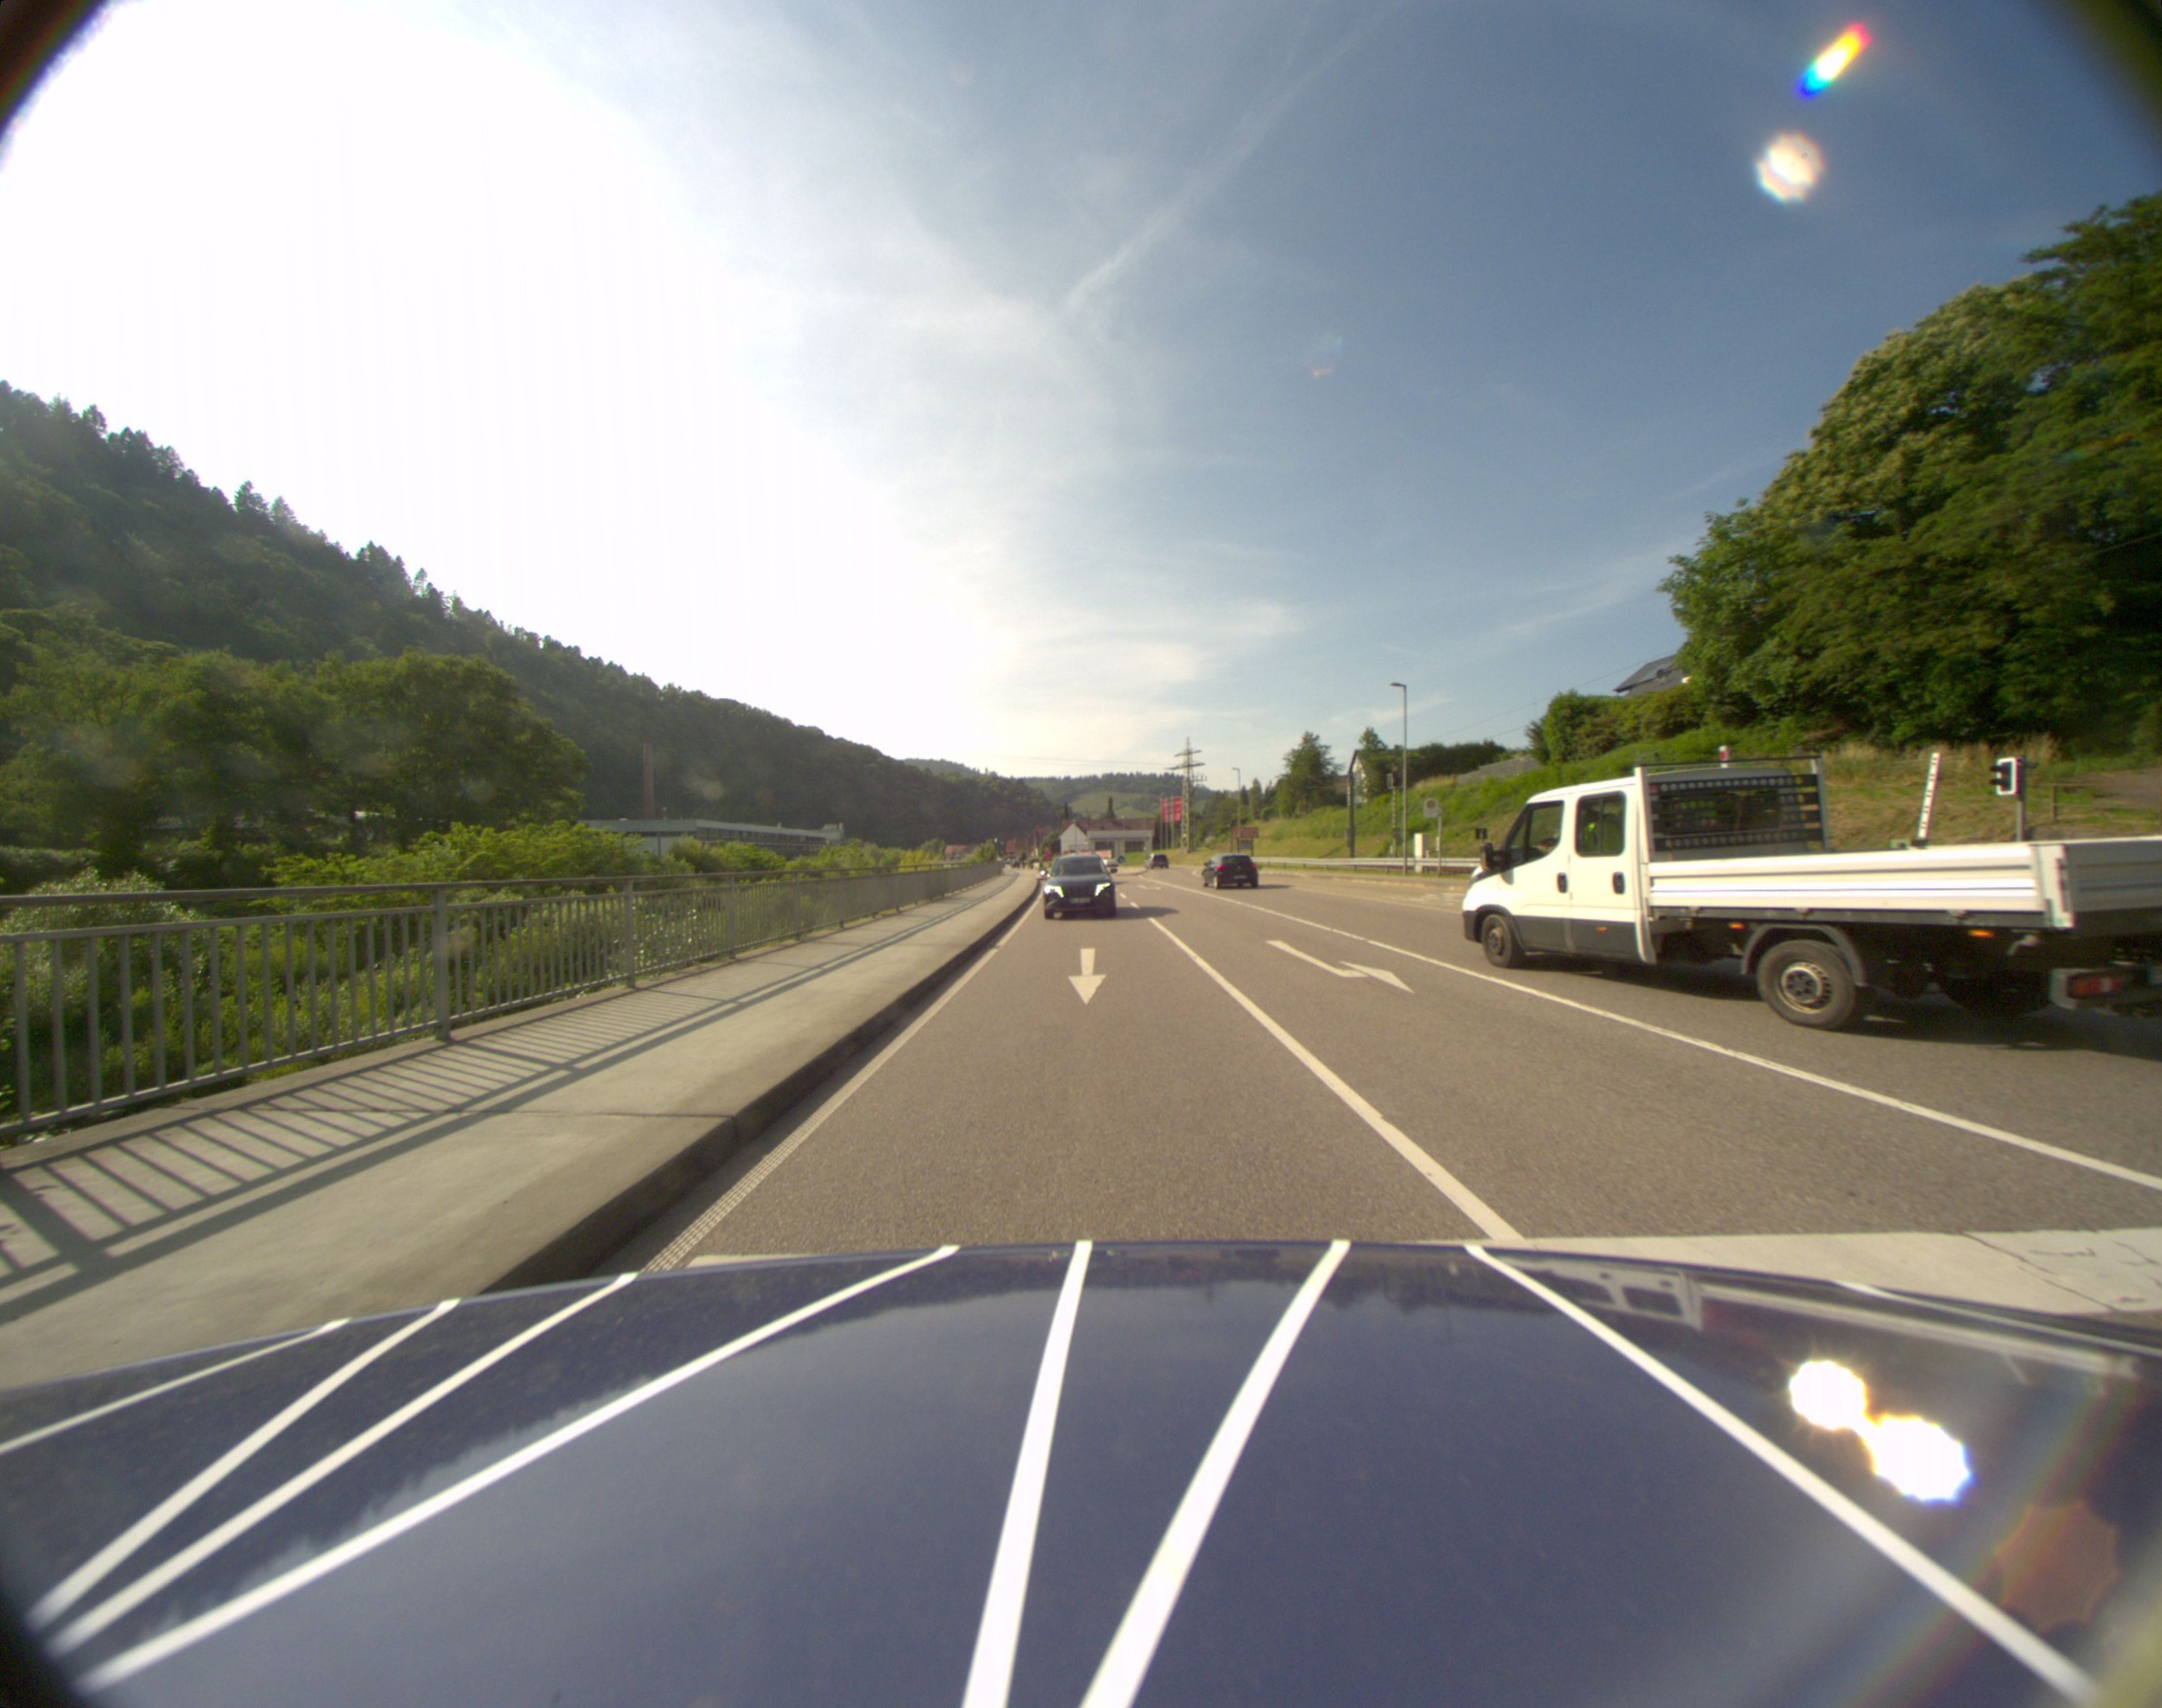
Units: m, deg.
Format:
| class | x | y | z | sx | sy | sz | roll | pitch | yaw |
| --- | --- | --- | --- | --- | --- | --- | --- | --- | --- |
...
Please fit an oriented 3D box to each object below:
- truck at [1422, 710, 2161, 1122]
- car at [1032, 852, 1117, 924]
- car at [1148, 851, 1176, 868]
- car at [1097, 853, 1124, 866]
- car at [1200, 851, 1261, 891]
| class | x | y | z | sx | sy | sz | roll | pitch | yaw |
| --- | --- | --- | --- | --- | --- | --- | --- | --- | --- |
| truck | 6.395 | 0.320 | 7.448 | 2.455 | 2.252 | 6.275 | -2 | 0 | -9 |
| car | -0.109 | 0.861 | 21.539 | 1.998 | 1.661 | 5.511 | -3 | 0 | 1 |
| car | 7.987 | 0.474 | 75.386 | 1.999 | 1.521 | 3.998 | -3 | 1 | -3 |
| car | 3.528 | 0.707 | 92.463 | 2.001 | 1.434 | 3.994 | -3 | 1 | -18 |
| car | 6.187 | 0.655 | 31.843 | 1.691 | 1.477 | 3.999 | -2 | 0 | 0 |
